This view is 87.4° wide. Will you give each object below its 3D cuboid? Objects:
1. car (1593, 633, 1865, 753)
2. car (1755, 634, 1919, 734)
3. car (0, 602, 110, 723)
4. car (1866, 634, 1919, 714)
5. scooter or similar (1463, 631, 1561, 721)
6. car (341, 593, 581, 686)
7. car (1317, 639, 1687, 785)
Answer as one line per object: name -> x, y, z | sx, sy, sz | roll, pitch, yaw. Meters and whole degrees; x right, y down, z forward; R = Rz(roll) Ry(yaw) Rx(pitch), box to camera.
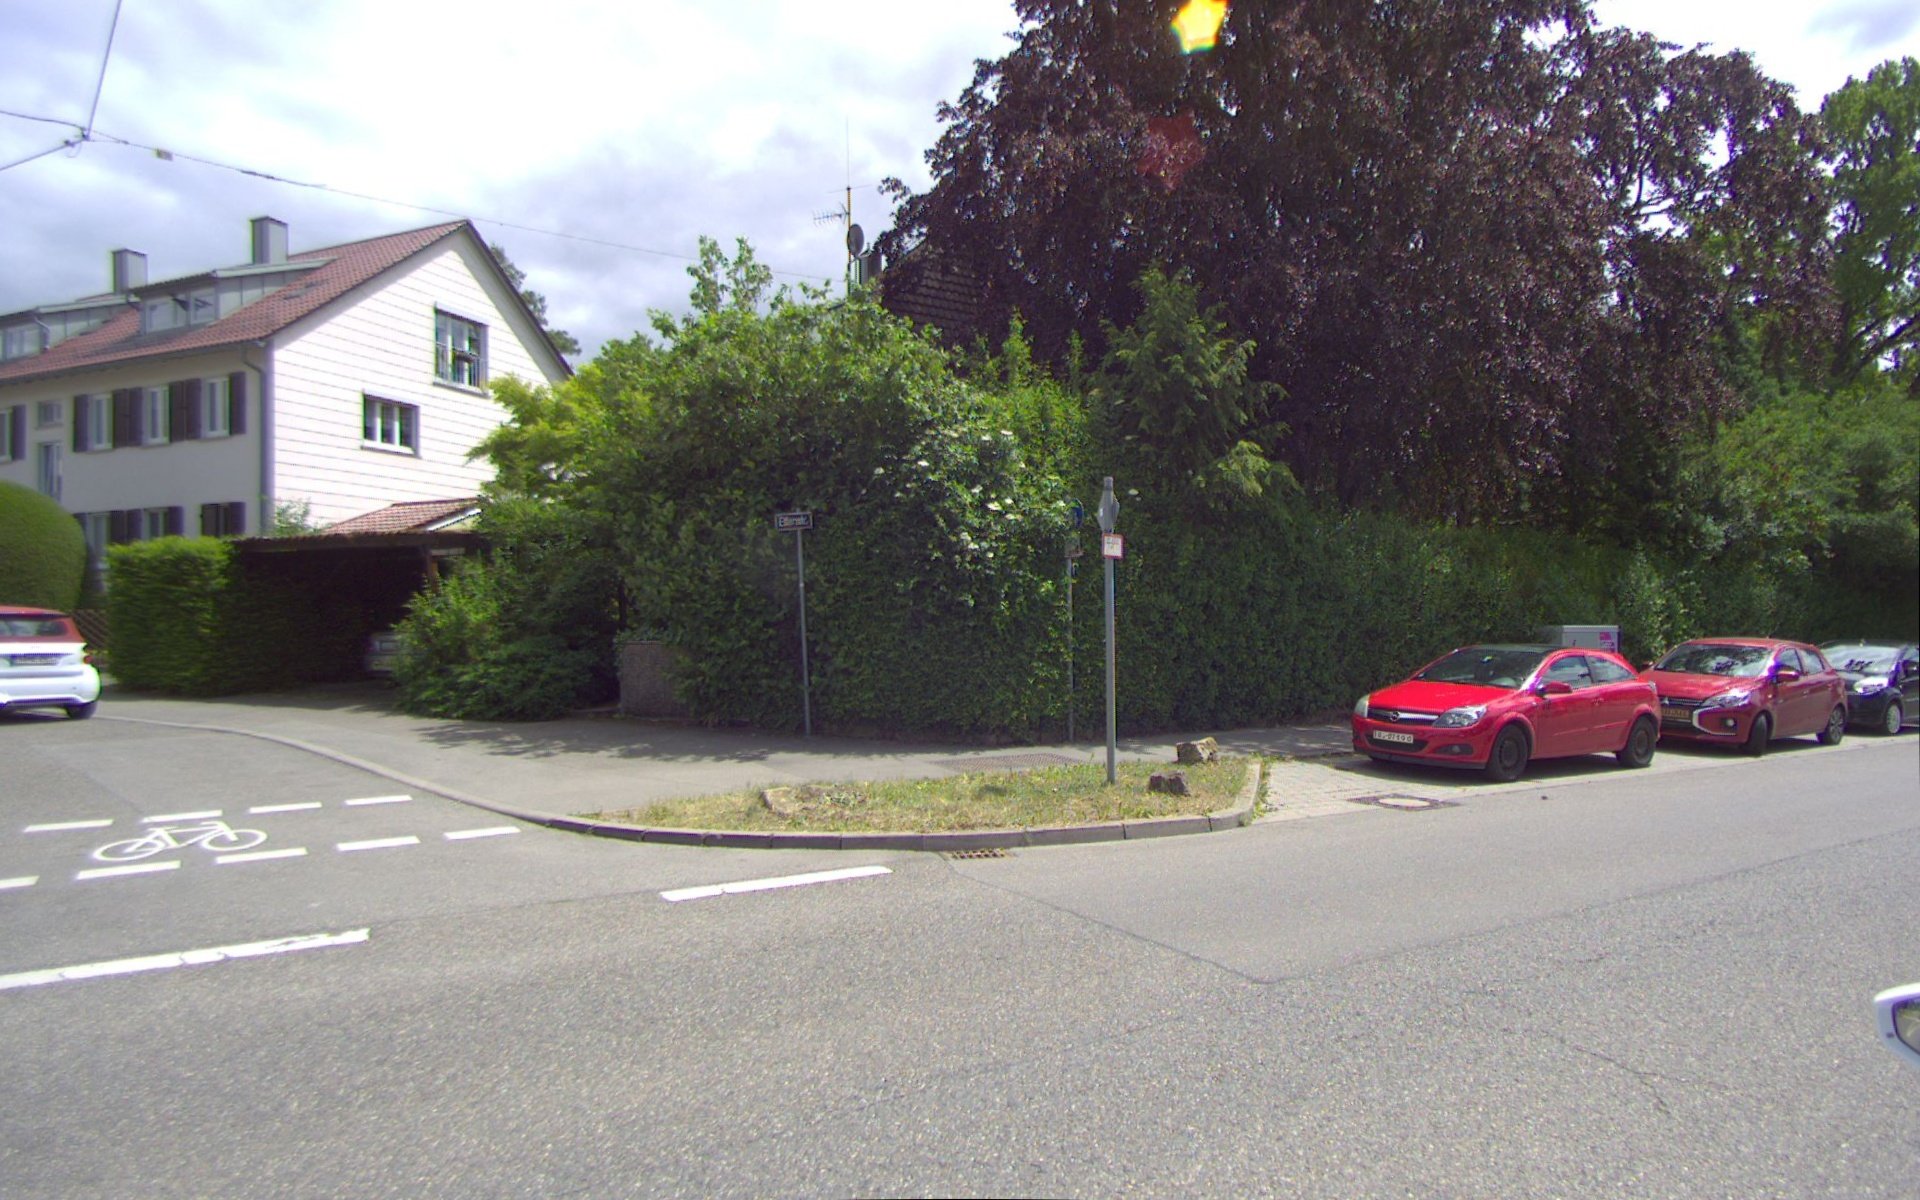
car -> 11.004, 1.236, 14.324 | 4.056, 1.470, 1.642 | 1, -1, -30
car -> 15.131, 1.343, 16.807 | 3.551, 1.470, 1.589 | 1, -1, -28
car -> -13.697, 0.818, 14.129 | 2.725, 1.576, 1.589 | 1, -1, 24
car -> 18.937, 1.366, 18.707 | 4.630, 1.383, 1.687 | 1, 0, -30
scooter or similar -> 9.255, 1.244, 16.833 | 1.628, 1.431, 0.668 | 1, -1, -28
car -> -9.146, 0.683, 18.800 | 1.694, 1.530, 4.001 | 0, -1, 18
car -> 6.423, 1.188, 11.778 | 4.510, 1.396, 1.653 | 1, -1, -29
